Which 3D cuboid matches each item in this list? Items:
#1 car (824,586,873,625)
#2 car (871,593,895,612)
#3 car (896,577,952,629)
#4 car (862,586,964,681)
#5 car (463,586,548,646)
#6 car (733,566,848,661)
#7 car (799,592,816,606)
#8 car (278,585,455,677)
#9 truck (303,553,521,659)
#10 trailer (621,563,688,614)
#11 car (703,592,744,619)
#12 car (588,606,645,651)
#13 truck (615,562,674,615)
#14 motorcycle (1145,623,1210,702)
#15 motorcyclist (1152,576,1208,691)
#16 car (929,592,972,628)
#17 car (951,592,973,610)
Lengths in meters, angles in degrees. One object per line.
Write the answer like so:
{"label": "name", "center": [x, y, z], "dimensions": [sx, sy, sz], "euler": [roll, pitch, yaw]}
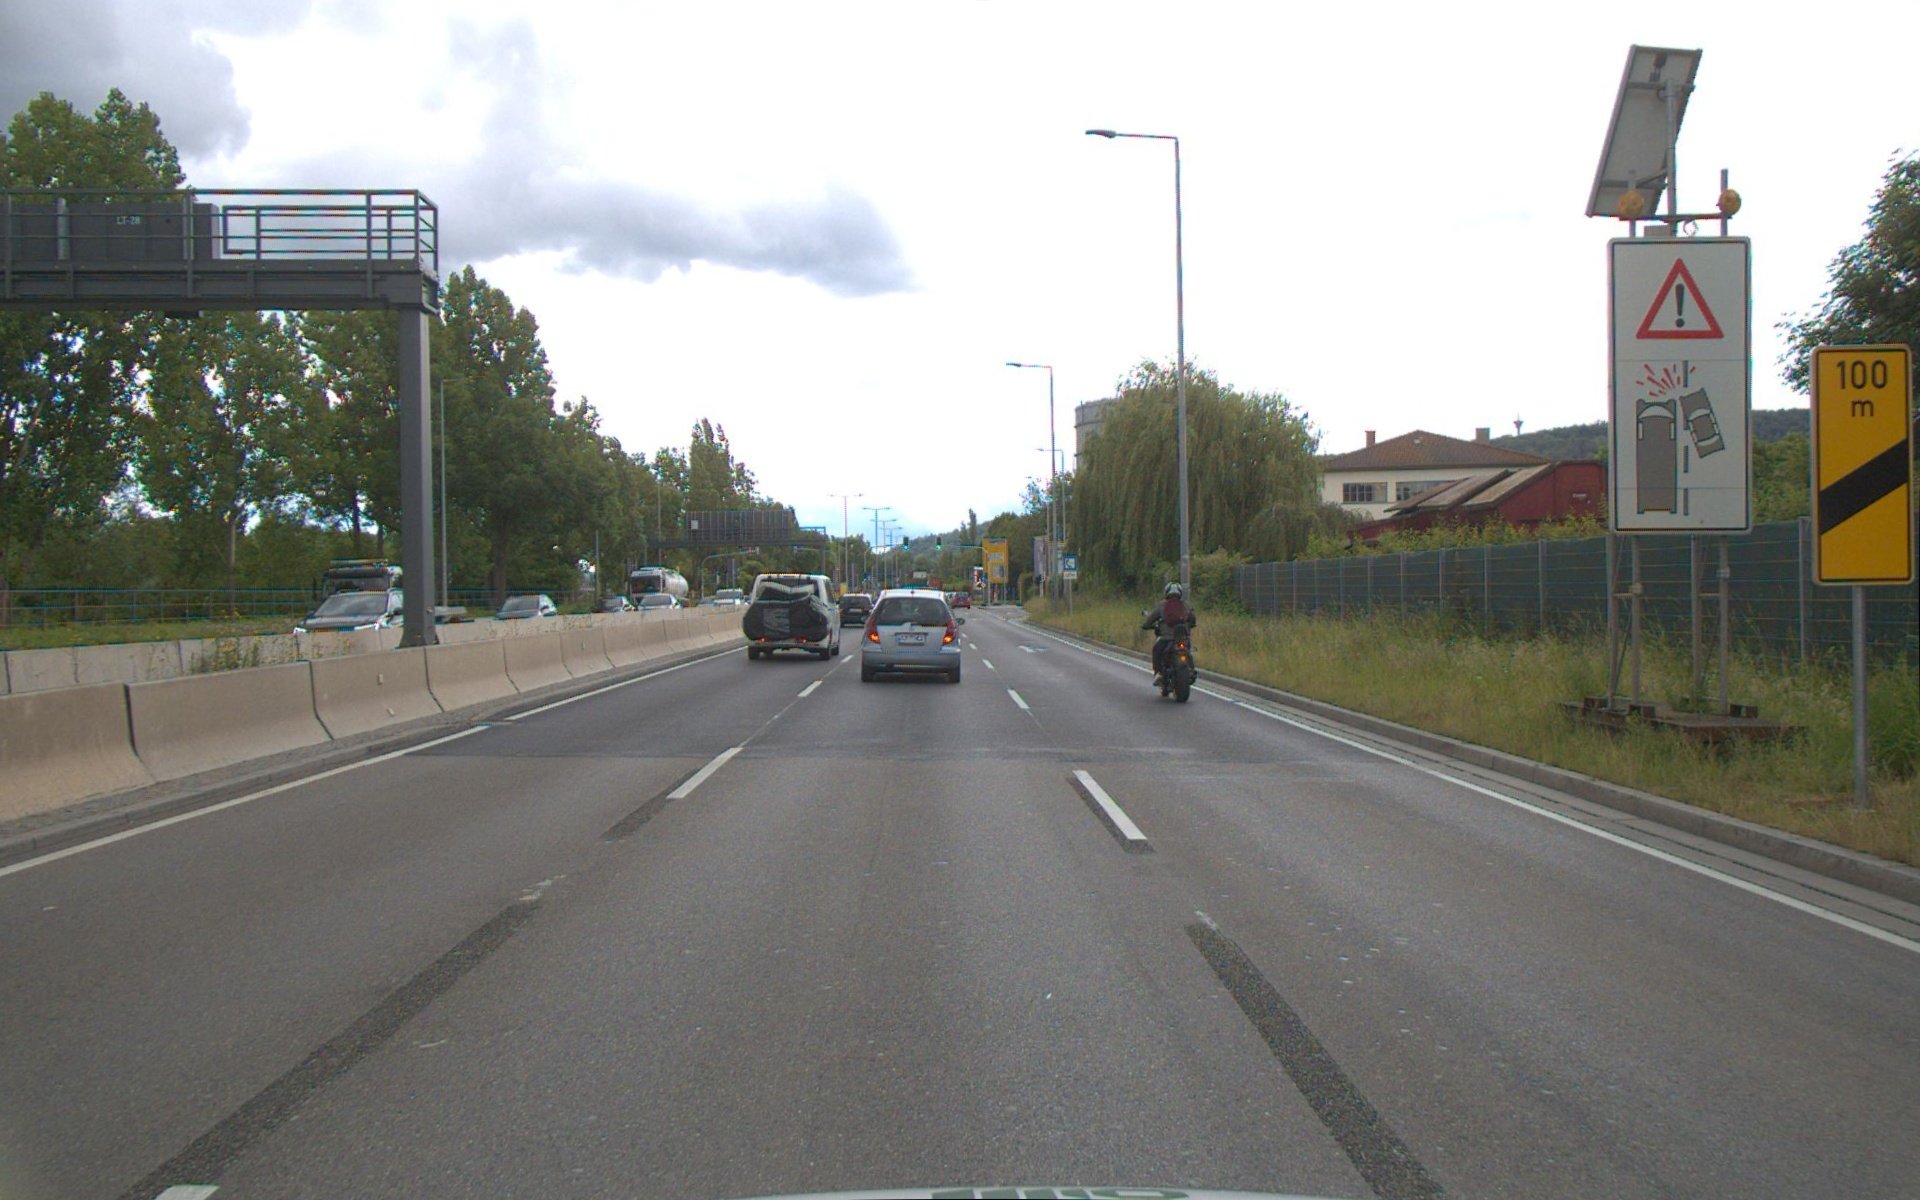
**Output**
{"label": "car", "center": [-4.778, 0.224, 71.228], "dimensions": [1.953, 1.579, 3.998], "euler": [1, 0, -2]}
{"label": "car", "center": [-6.575, 0.198, 141.352], "dimensions": [1.953, 1.579, 3.999], "euler": [1, 0, -2]}
{"label": "car", "center": [-1.230, 0.094, 58.008], "dimensions": [1.869, 1.713, 4.000], "euler": [1, 0, -1]}
{"label": "car", "center": [-0.830, 0.555, 29.809], "dimensions": [1.676, 1.556, 3.999], "euler": [1, 0, -1]}
{"label": "car", "center": [-15.425, 0.508, 56.320], "dimensions": [1.779, 1.909, 4.100], "euler": [1, 0, -1]}
{"label": "car", "center": [-3.755, 0.271, 37.495], "dimensions": [2.170, 1.959, 5.001], "euler": [1, 0, -1]}
{"label": "car", "center": [-19.409, -0.189, 210.895], "dimensions": [1.840, 1.712, 4.125], "euler": [1, 0, -1]}
{"label": "car", "center": [-11.623, 0.556, 32.733], "dimensions": [1.887, 1.646, 4.455], "euler": [1, 0, -1]}
{"label": "truck", "center": [-18.812, 0.130, 58.351], "dimensions": [2.796, 3.161, 15.880], "euler": [1, 0, -2]}
{"label": "trailer", "center": [-20.974, -0.779, 114.146], "dimensions": [3.039, 3.276, 11.661], "euler": [1, 0, -3]}
{"label": "car", "center": [-14.933, 0.336, 104.702], "dimensions": [1.953, 1.646, 4.696], "euler": [1, 0, -1]}
{"label": "car", "center": [-16.662, 1.345, 80.505], "dimensions": [1.953, 2.049, 3.999], "euler": [1, 0, -1]}
{"label": "truck", "center": [-20.677, -0.759, 108.776], "dimensions": [3.036, 3.275, 5.388], "euler": [1, 0, -3]}
{"label": "motorcycle", "center": [3.183, 0.891, 24.352], "dimensions": [0.692, 1.058, 2.027], "euler": [1, 0, 1]}
{"label": "motorcyclist", "center": [3.217, 0.477, 24.236], "dimensions": [0.670, 1.638, 0.845], "euler": [1, 0, 1]}
{"label": "car", "center": [-0.434, 0.402, 72.173], "dimensions": [1.803, 1.489, 3.999], "euler": [1, 0, -1]}
{"label": "car", "center": [0.226, 0.062, 153.288], "dimensions": [1.953, 1.579, 4.000], "euler": [1, 0, 0]}
